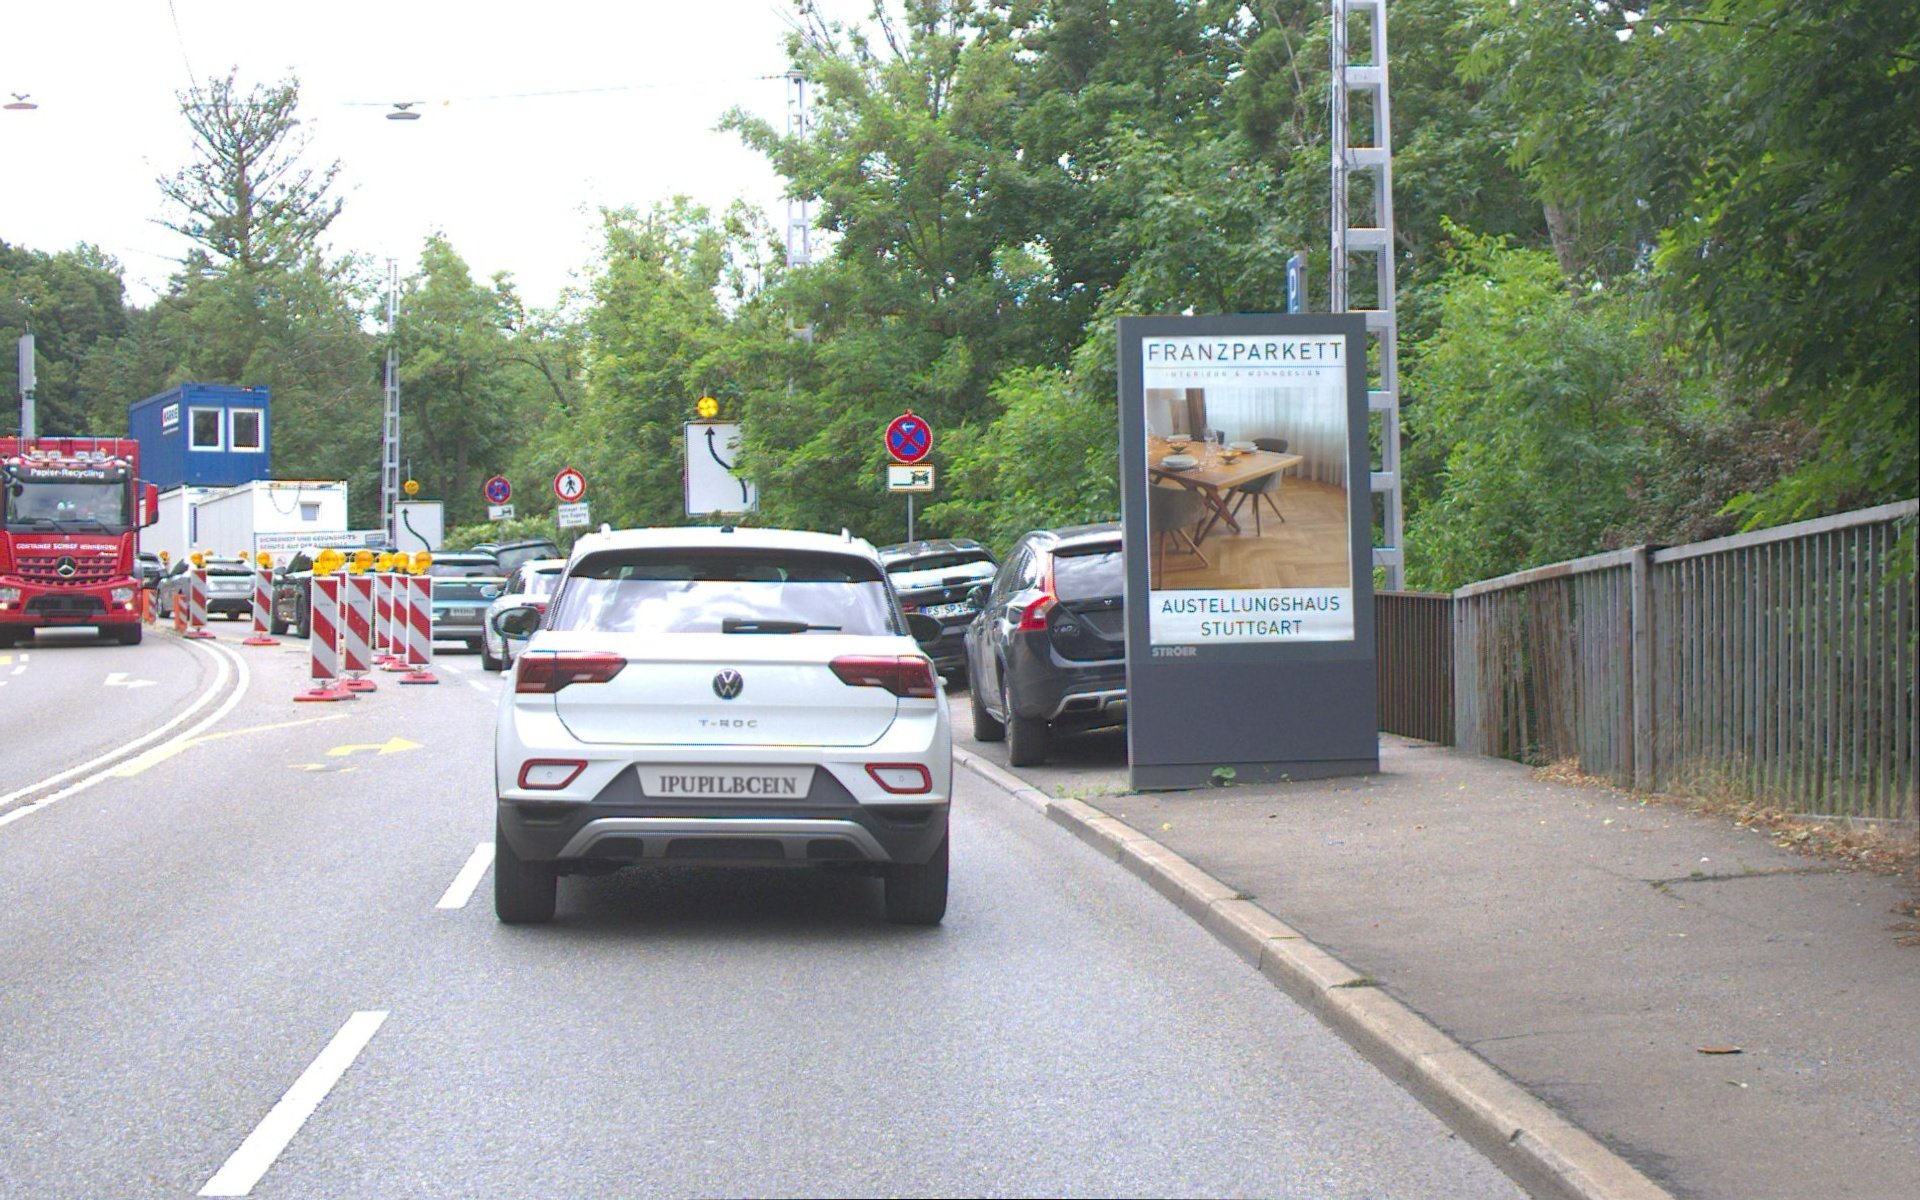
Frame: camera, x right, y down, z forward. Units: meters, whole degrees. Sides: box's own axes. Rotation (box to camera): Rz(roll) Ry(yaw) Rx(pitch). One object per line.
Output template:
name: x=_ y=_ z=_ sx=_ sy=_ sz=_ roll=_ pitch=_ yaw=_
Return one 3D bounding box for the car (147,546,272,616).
car: x=-16.540 y=-0.409 z=75.650 sx=1.993 sy=1.445 sz=4.151 roll=-2 pitch=1 yaw=-22

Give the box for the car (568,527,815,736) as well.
car: x=-2.283 y=0.204 z=28.468 sx=1.757 sy=1.604 sz=3.796 roll=0 pitch=1 yaw=-9

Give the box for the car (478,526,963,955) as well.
car: x=-1.027 y=0.472 z=14.421 sx=1.757 sy=1.550 sz=3.796 roll=0 pitch=1 yaw=-5

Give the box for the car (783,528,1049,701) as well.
car: x=-0.518 y=0.096 z=34.785 sx=1.807 sy=1.458 sz=4.195 roll=-6 pitch=2 yaw=-11

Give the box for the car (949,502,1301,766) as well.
car: x=1.037 y=0.164 z=23.870 sx=1.765 sy=1.516 sz=4.394 roll=-5 pitch=2 yaw=-5

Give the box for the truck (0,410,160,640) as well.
truck: x=-16.120 y=-1.309 z=61.429 sx=2.944 sy=3.685 sz=9.922 roll=-3 pitch=2 yaw=-16

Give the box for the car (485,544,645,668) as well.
car: x=-4.977 y=0.037 z=42.933 sx=1.757 sy=1.466 sz=3.796 roll=0 pitch=1 yaw=-10

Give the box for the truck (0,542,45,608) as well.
truck: x=-21.956 y=-0.567 z=78.269 sx=1.662 sy=1.438 sz=4.027 roll=-2 pitch=1 yaw=-21

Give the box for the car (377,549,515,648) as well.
car: x=-7.967 y=-0.034 z=53.404 sx=1.993 sy=1.409 sz=4.151 roll=-2 pitch=0 yaw=-8

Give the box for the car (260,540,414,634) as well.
car: x=-11.253 y=-0.262 z=61.922 sx=1.993 sy=1.551 sz=4.152 roll=-1 pitch=2 yaw=-21
